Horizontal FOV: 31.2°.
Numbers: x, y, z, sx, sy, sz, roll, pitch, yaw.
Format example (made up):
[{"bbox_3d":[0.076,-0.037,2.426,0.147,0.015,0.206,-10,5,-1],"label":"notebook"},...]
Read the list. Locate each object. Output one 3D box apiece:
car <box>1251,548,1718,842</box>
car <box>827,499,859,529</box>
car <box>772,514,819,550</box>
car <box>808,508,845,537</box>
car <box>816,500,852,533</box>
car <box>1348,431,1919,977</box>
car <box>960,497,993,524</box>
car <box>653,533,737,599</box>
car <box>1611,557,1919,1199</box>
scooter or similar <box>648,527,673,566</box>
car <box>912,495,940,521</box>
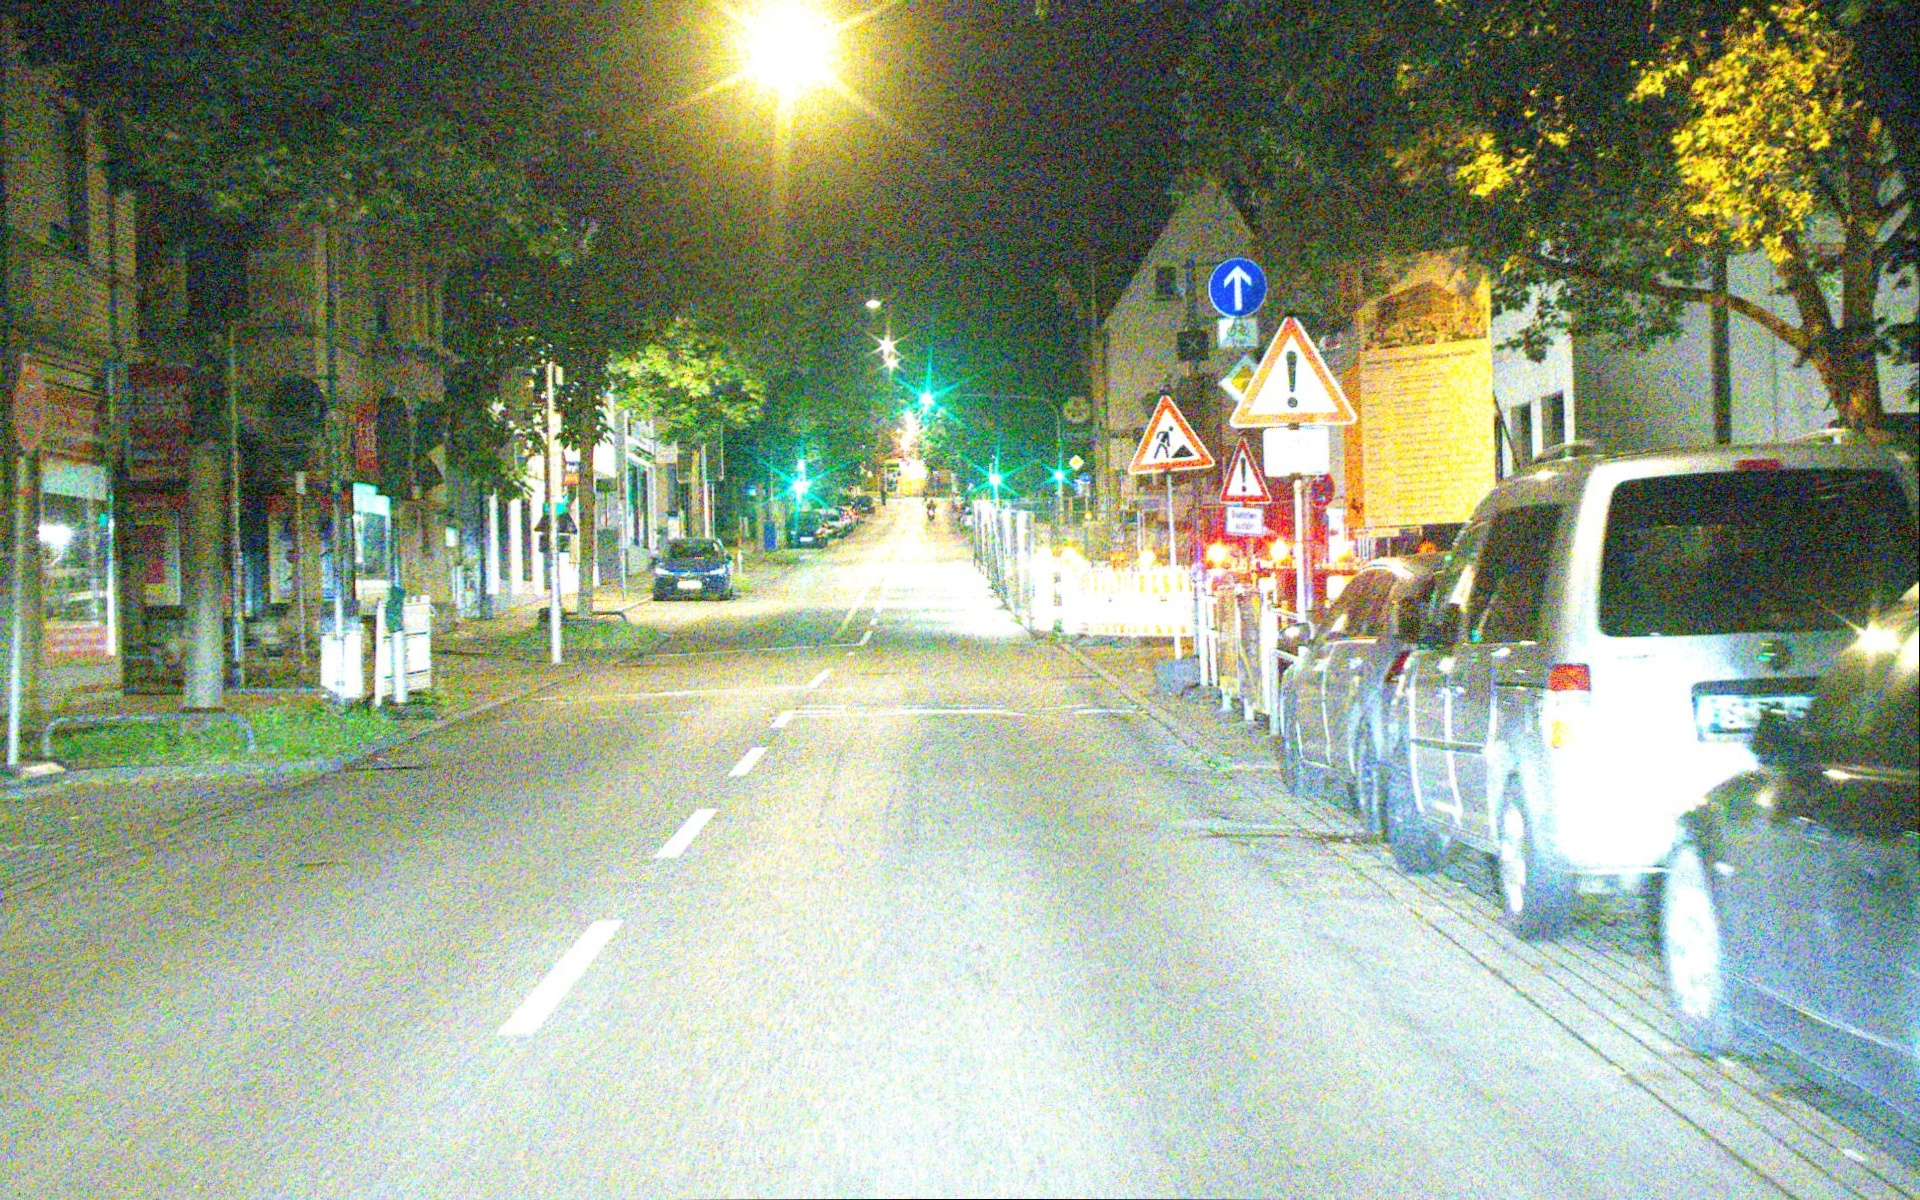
[{"bbox_3d":[2.802,0.438,19.299,1.727,1.414,4.324,-2,1,-3],"label":"car"},{"bbox_3d":[-7.287,-5.384,215.086,1.873,1.808,4.205,-1,2,-1],"label":"car"},{"bbox_3d":[-7.325,-3.056,153.448,1.873,1.539,4.205,-1,2,-1],"label":"car"},{"bbox_3d":[-7.385,-4.310,190.659,1.873,1.539,4.205,-1,2,-1],"label":"car"},{"bbox_3d":[-7.200,-4.775,196.792,1.873,1.808,4.205,-1,2,-1],"label":"car"},{"bbox_3d":[2.807,0.317,14.102,1.735,1.848,4.317,-2,1,-2],"label":"car"},{"bbox_3d":[0.971,-5.291,203.817,1.873,1.539,4.205,-1,2,-1],"label":"car"},{"bbox_3d":[-6.247,-0.828,81.379,1.671,1.438,4.205,-1,2,-1],"label":"car"},{"bbox_3d":[2.892,0.617,8.361,1.686,1.416,4.444,-2,1,0],"label":"car"},{"bbox_3d":[-9.352,-1.659,107.279,0.528,1.161,2.507,-3,0,-1],"label":"scooter or similar"},{"bbox_3d":[-2.453,-6.578,246.910,1.873,1.808,4.205,-1,2,0],"label":"car"}]
